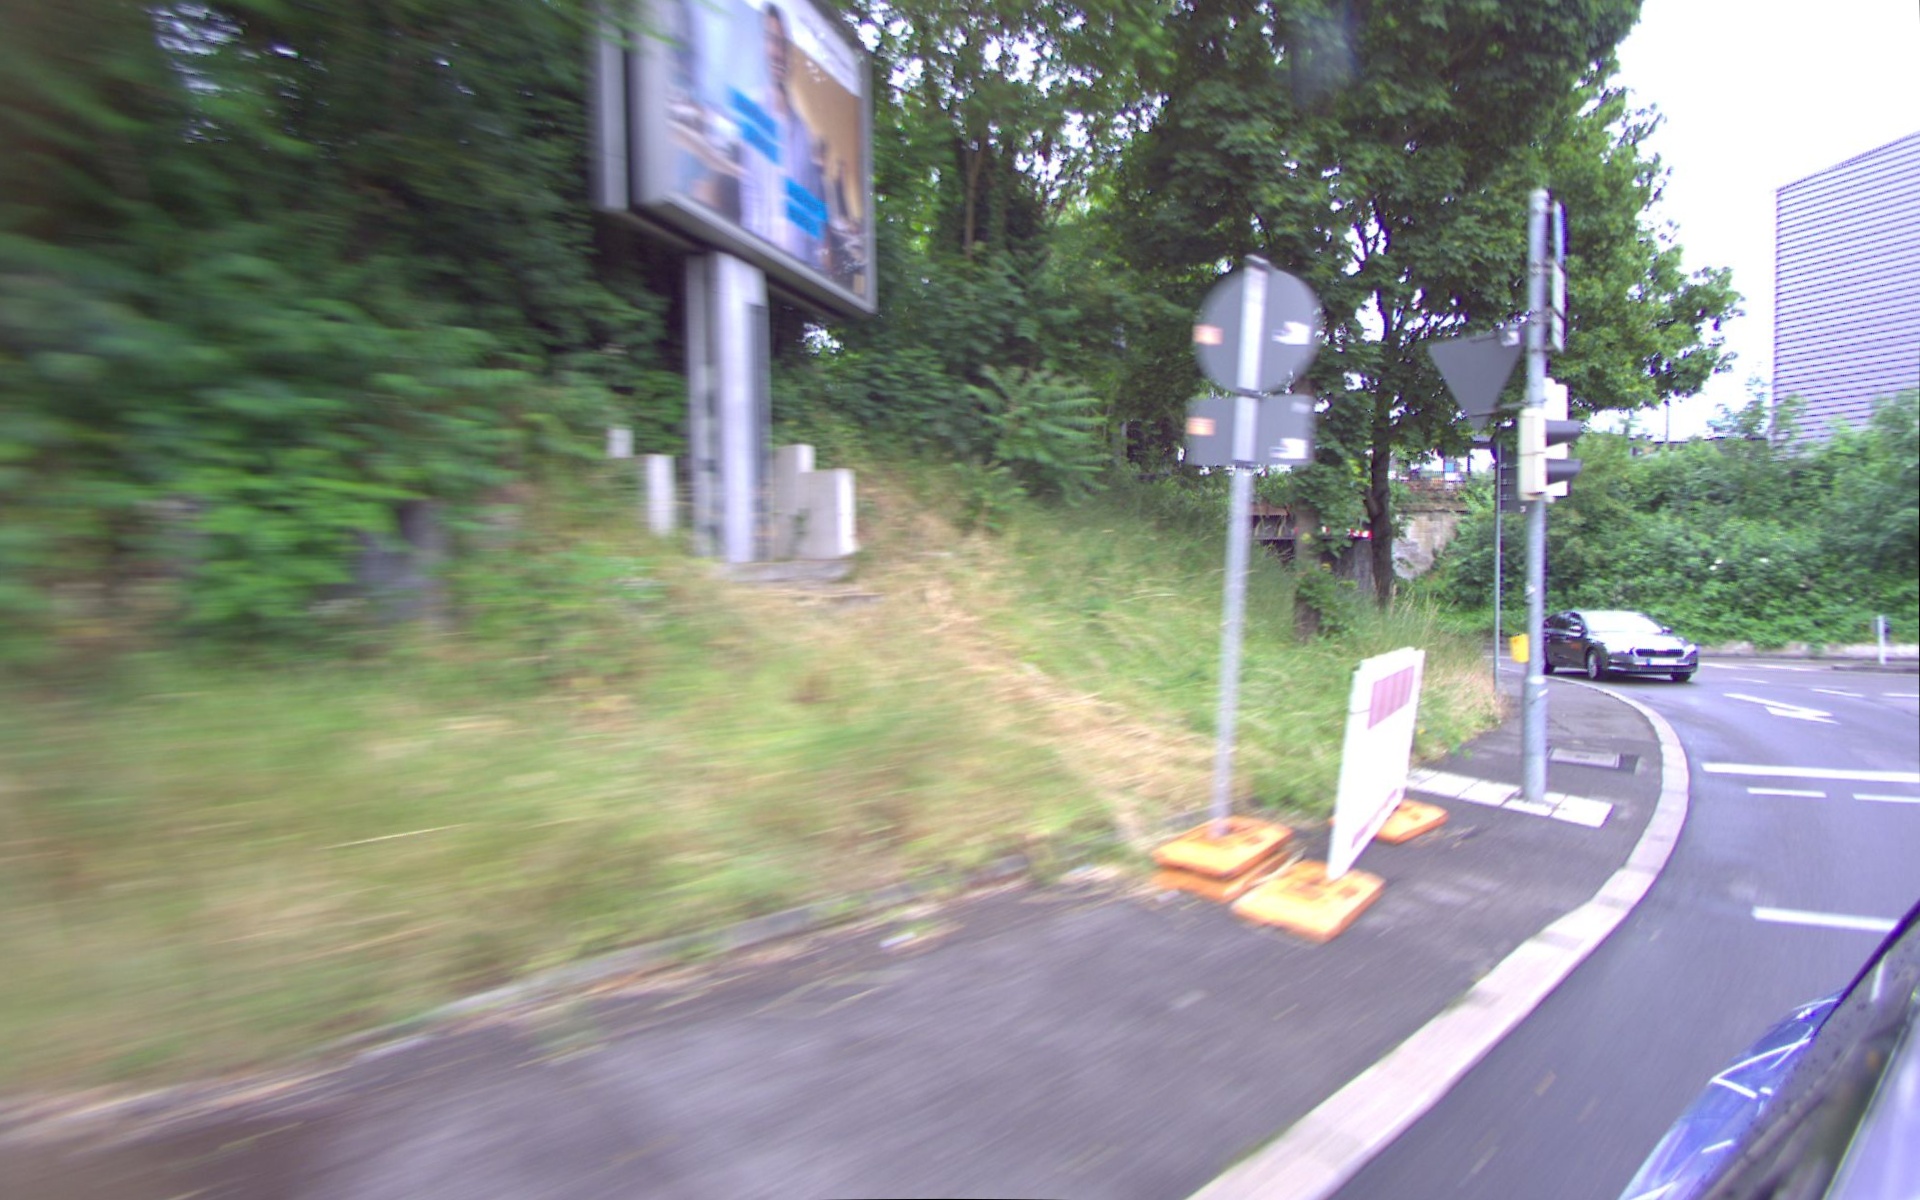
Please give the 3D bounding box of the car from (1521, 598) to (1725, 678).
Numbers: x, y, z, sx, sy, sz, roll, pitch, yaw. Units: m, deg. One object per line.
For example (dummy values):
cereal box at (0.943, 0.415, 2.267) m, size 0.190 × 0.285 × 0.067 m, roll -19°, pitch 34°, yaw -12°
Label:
car at (13.880, 0.778, 21.507) m, size 1.779 × 1.537 × 4.048 m, roll 0°, pitch -1°, yaw 3°
